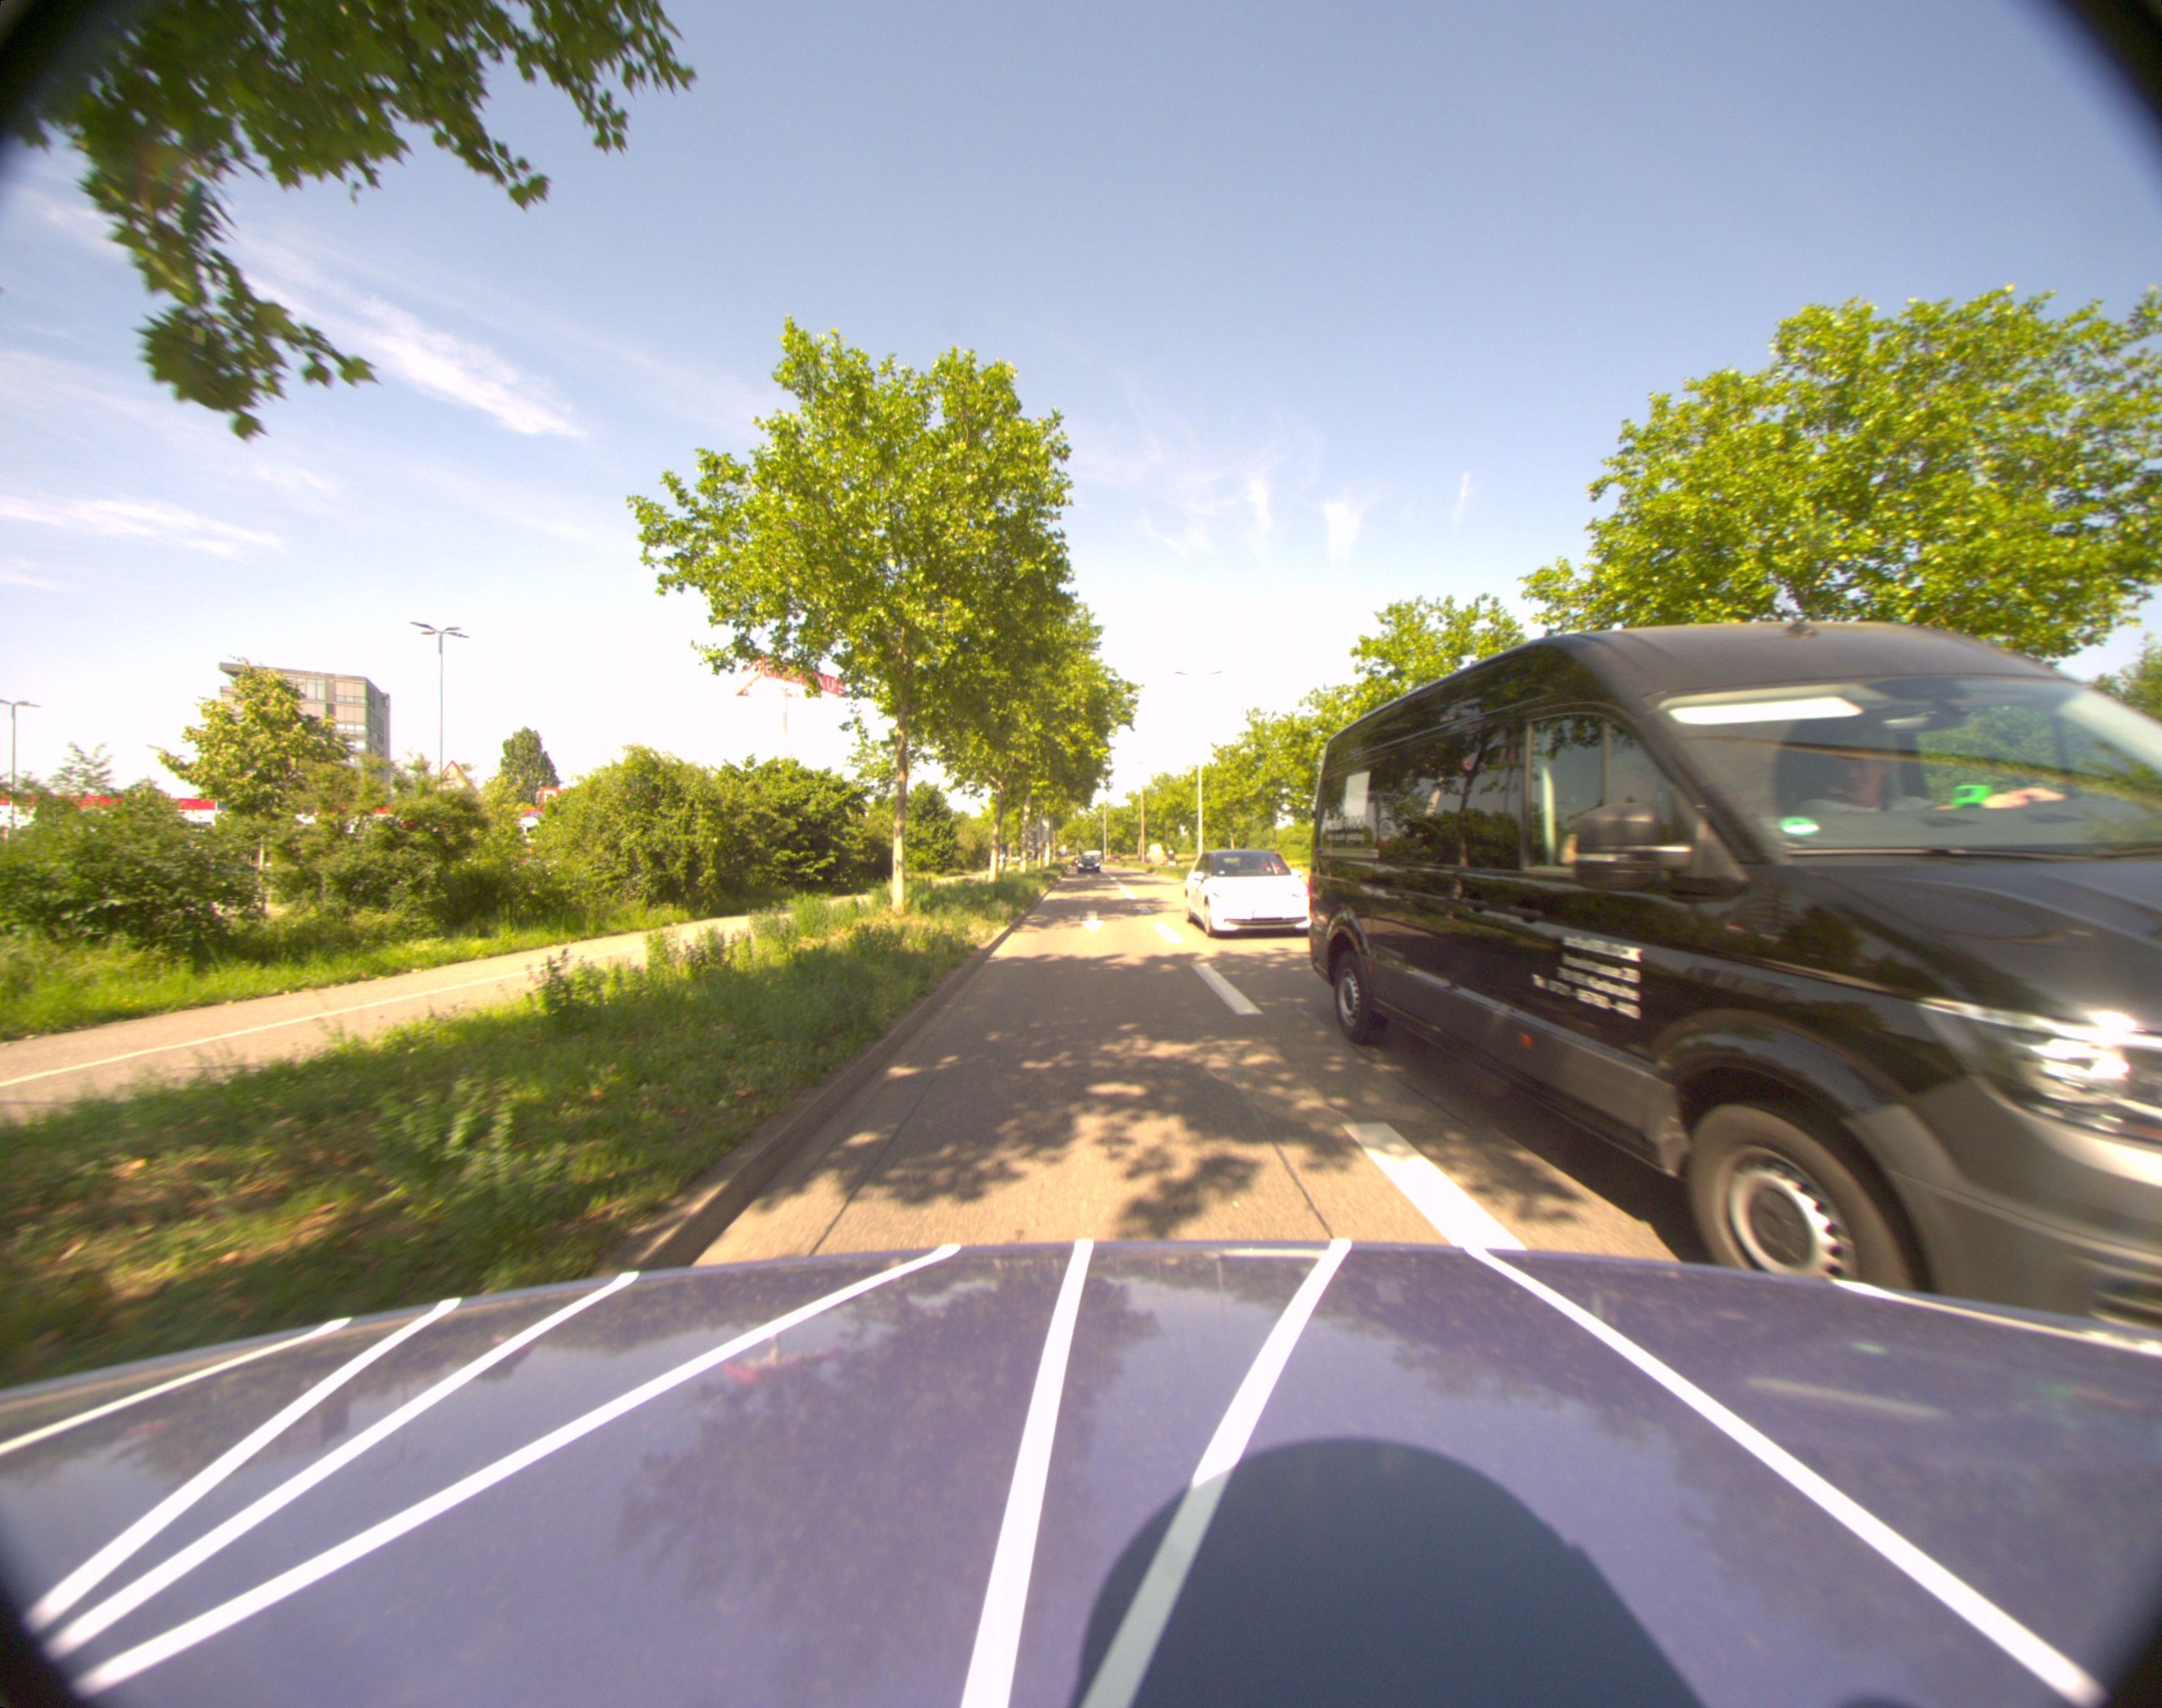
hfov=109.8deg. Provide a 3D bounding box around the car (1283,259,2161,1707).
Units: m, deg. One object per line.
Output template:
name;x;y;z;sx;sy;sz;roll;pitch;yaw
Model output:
car;2.870;0.261;4.026;2.021;2.592;6.168;-1;1;1

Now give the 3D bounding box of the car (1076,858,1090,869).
car;0.260;1.360;109.309;1.649;1.592;3.601;-1;0;-7

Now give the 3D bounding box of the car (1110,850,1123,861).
car;5.135;0.192;111.089;1.607;1.463;3.789;-1;1;-2

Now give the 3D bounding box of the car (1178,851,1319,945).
car;3.036;0.715;14.636;1.824;1.512;4.208;-1;0;1

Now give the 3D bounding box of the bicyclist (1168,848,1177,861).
bicyclist;8.317;0.059;69.127;0.730;1.183;1.102;-2;-1;1

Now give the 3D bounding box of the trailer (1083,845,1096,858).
trailer;1.564;-0.431;136.449;2.314;2.252;5.537;-1;1;1

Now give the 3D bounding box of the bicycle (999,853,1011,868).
bicycle;-6.748;0.571;67.615;0.724;1.291;2.095;-1;1;1

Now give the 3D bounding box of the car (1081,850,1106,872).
car;0.909;0.518;58.471;1.721;1.575;3.753;-1;0;-2

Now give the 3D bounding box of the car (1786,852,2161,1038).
car;9.753;0.743;7.620;1.736;1.503;4.000;0;0;2

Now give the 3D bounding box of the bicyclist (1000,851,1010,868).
bicyclist;-6.769;0.486;67.618;0.706;1.468;1.009;-1;1;1

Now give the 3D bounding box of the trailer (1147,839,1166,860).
trailer;9.933;-0.613;100.231;1.885;2.728;4.827;-2;1;-1

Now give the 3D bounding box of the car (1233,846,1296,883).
car;8.389;0.445;35.119;1.859;1.574;4.174;-1;0;-1

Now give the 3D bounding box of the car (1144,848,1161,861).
car;9.821;0.052;105.099;1.769;1.779;5.374;-2;1;-1

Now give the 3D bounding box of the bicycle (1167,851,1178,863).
bicycle;8.318;0.301;69.231;0.730;1.023;2.217;-2;-1;1
